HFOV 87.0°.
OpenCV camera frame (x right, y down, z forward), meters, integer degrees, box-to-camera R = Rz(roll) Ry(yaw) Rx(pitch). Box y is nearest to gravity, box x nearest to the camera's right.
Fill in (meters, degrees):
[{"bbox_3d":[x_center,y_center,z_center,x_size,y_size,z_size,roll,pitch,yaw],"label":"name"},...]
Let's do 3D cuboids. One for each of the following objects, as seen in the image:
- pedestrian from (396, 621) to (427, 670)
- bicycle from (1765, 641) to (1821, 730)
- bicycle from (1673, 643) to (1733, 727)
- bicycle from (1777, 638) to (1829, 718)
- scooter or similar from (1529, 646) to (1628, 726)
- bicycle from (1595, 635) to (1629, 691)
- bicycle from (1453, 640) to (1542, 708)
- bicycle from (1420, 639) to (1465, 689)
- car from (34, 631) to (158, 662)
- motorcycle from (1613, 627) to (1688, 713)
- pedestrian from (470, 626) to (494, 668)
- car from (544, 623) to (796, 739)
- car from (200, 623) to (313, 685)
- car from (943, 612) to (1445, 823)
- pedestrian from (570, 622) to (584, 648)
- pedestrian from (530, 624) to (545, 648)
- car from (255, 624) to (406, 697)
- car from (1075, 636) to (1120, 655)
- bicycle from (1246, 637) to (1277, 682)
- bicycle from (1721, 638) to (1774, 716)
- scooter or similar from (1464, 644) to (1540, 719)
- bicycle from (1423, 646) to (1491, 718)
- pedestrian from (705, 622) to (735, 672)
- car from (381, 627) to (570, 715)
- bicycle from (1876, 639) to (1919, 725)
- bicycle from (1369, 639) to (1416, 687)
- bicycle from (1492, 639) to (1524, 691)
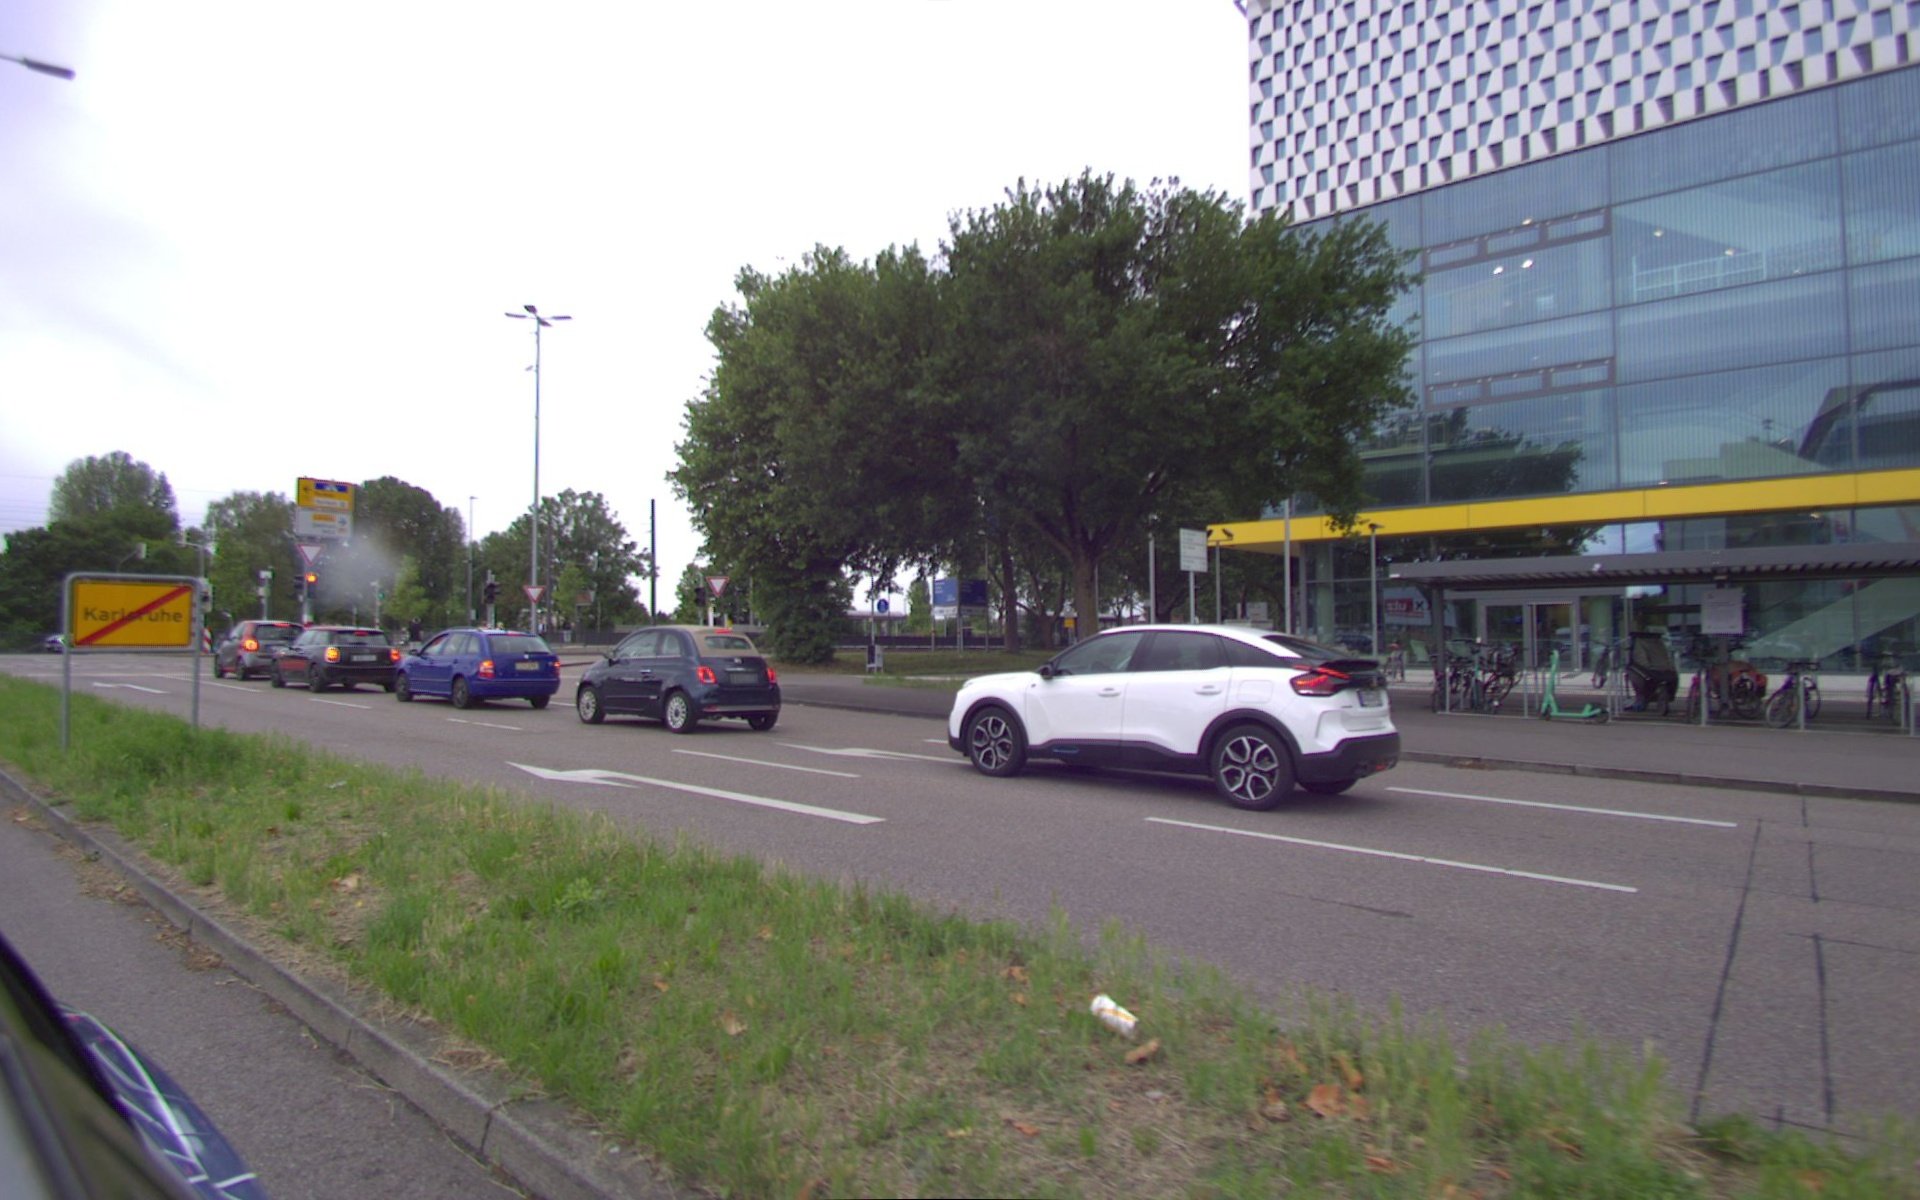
[{"bbox_3d":[-20.693,1.719,38.150,0.686,1.778,0.656,3,-3,38],"label":"pedestrian"},{"bbox_3d":[12.467,1.241,15.140,0.593,1.165,1.874,-2,-1,40],"label":"bicycle"},{"bbox_3d":[11.628,1.290,15.818,0.593,1.165,1.874,-2,-1,40],"label":"bicycle"},{"bbox_3d":[13.821,1.241,16.594,0.593,1.165,1.995,-2,-1,40],"label":"bicycle"},{"bbox_3d":[9.711,1.322,15.933,0.417,1.157,1.353,-1,-1,-18],"label":"scooter or similar"},{"bbox_3d":[15.174,1.440,23.530,0.592,1.165,1.999,-2,-1,34],"label":"bicycle"},{"bbox_3d":[10.312,1.391,19.391,1.988,1.165,0.595,-1,-1,-33],"label":"bicycle"},{"bbox_3d":[12.339,1.612,25.861,0.593,1.165,1.996,-2,-1,38],"label":"bicycle"},{"bbox_3d":[-42.403,2.283,49.774,1.670,1.419,4.328,-4,-4,29],"label":"car"},{"bbox_3d":[12.313,1.207,18.117,0.796,1.366,2.476,-2,-1,28],"label":"motorcycle"},{"bbox_3d":[-19.859,1.942,42.026,0.766,1.725,0.666,-2,-3,44],"label":"pedestrian"},{"bbox_3d":[-4.385,1.142,15.029,4.034,1.509,1.586,-2,-5,40],"label":"car"},{"bbox_3d":[-18.430,1.387,26.481,3.206,1.514,1.587,-2,-3,39],"label":"car"},{"bbox_3d":[2.038,0.927,9.467,4.180,1.530,1.911,-1,-4,41],"label":"car"},{"bbox_3d":[-25.941,2.383,68.503,0.788,1.755,0.578,-5,-4,42],"label":"pedestrian"},{"bbox_3d":[-27.438,2.329,65.688,0.711,1.572,0.624,-5,-4,42],"label":"pedestrian"},{"bbox_3d":[-14.260,1.326,22.852,4.062,1.514,1.645,-1,-4,40],"label":"car"},{"bbox_3d":[11.991,3.954,88.127,1.891,1.598,4.354,-1,-2,38],"label":"car"},{"bbox_3d":[8.629,1.684,28.955,0.590,1.165,2.006,-2,-1,24],"label":"bicycle"},{"bbox_3d":[13.328,1.267,17.107,0.593,1.165,1.995,-2,-1,40],"label":"bicycle"},{"bbox_3d":[9.293,1.370,17.390,0.353,1.194,1.296,-1,-1,-12],"label":"scooter or similar"},{"bbox_3d":[8.823,1.425,17.932,0.593,1.165,1.995,-2,-2,40],"label":"bicycle"},{"bbox_3d":[-8.178,1.590,34.505,0.808,1.655,0.627,0,-1,38],"label":"pedestrian"},{"bbox_3d":[-9.135,1.269,18.946,4.140,1.455,1.586,-1,-4,40],"label":"car"},{"bbox_3d":[14.557,1.231,15.569,0.593,1.165,1.995,-2,-1,40],"label":"bicycle"},{"bbox_3d":[11.412,1.637,26.672,0.593,1.165,1.996,-2,-1,38],"label":"bicycle"},{"bbox_3d":[13.437,1.571,24.846,0.591,1.165,2.003,-2,-1,27],"label":"bicycle"}]
